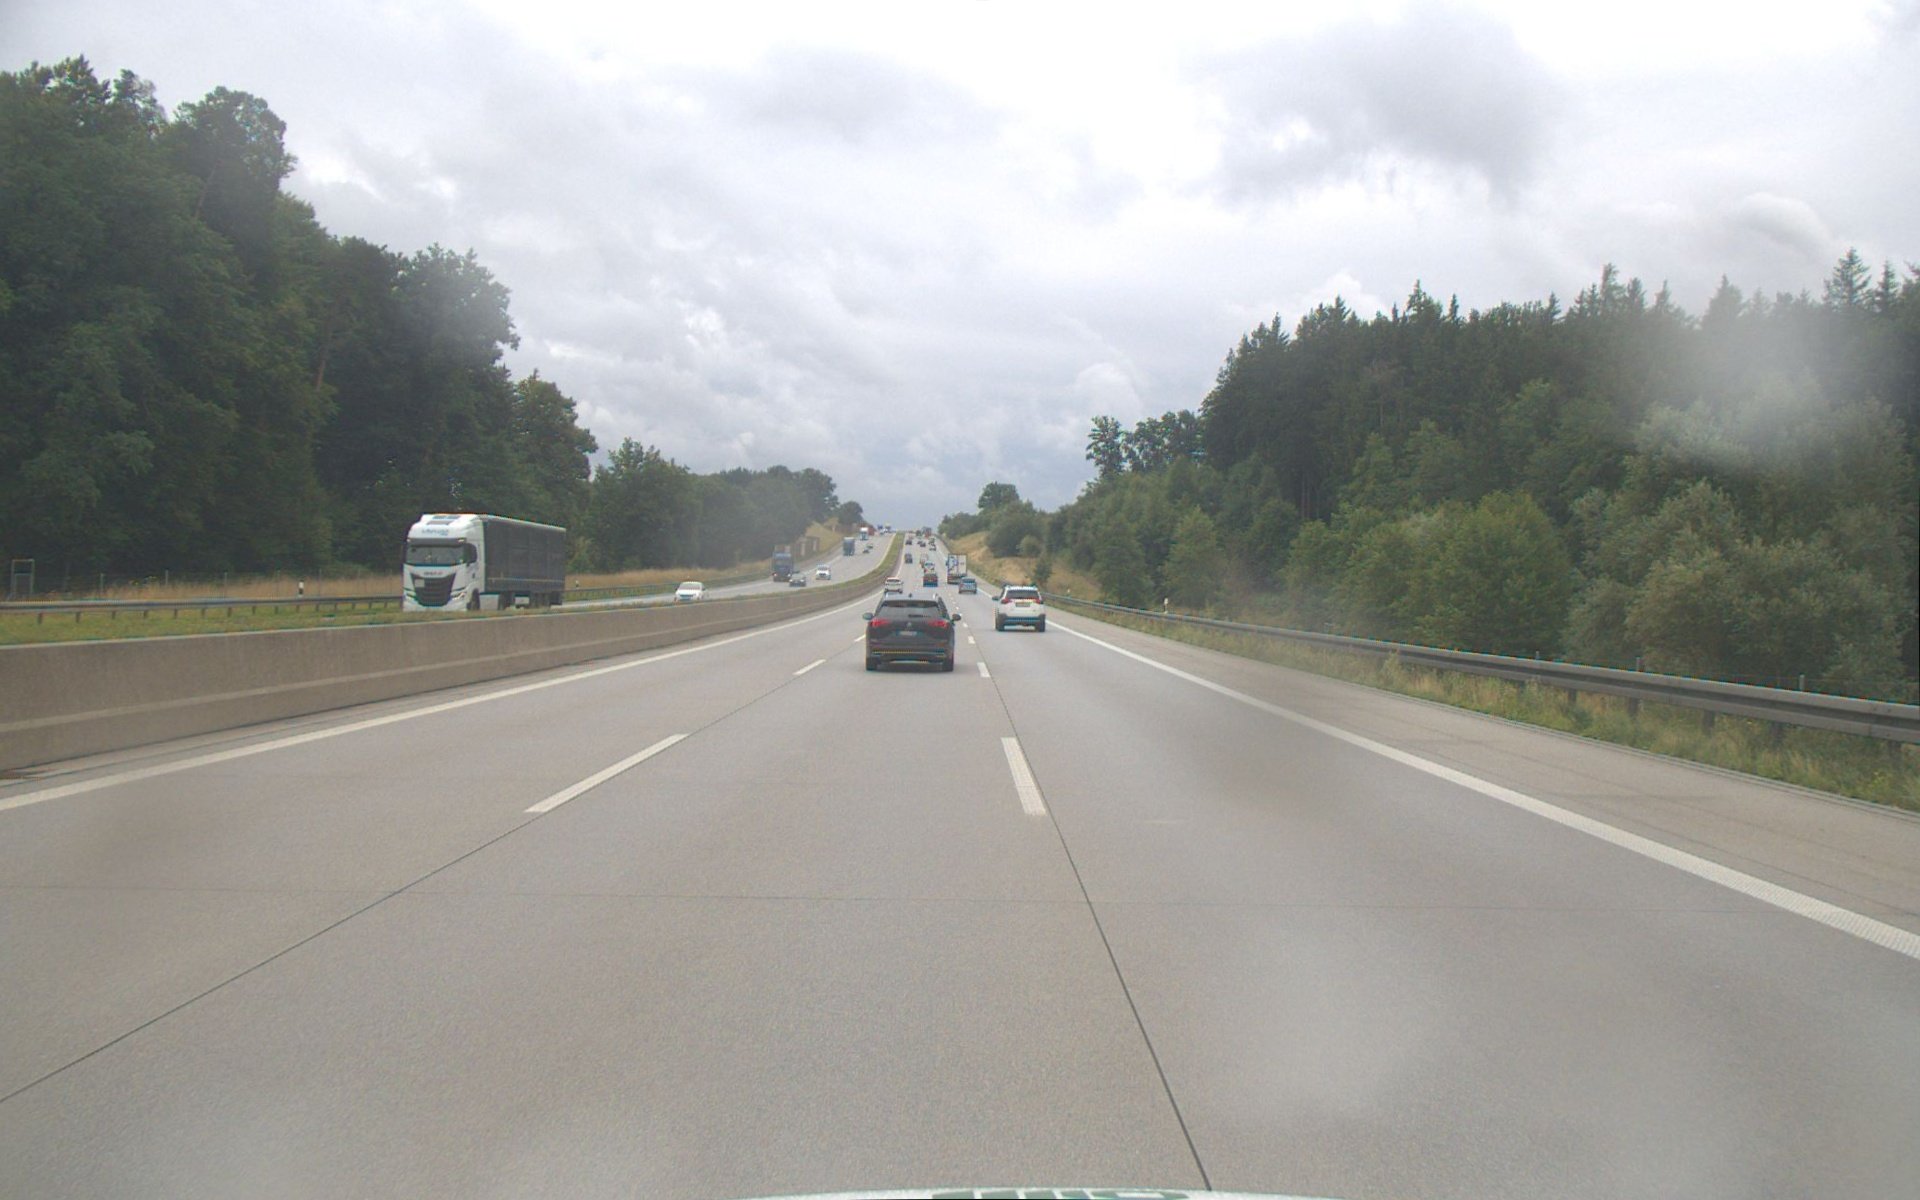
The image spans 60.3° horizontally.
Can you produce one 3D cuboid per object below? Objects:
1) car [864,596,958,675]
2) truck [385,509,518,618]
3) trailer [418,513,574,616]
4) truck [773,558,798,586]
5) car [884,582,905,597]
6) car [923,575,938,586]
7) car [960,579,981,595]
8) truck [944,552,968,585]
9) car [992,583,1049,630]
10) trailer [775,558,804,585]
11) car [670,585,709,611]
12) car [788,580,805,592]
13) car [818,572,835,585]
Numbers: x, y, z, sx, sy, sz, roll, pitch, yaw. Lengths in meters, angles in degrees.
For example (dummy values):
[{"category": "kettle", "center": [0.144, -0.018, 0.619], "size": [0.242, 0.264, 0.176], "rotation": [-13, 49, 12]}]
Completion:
[{"category": "car", "center": [-0.914, 0.650, 32.787], "size": [1.716, 1.422, 4.484], "rotation": [1, 0, 0]}, {"category": "truck", "center": [-20.426, -1.444, 66.909], "size": [3.147, 4.128, 7.165], "rotation": [1, 1, -1]}, {"category": "trailer", "center": [-20.544, -1.533, 74.433], "size": [3.169, 4.123, 14.129], "rotation": [1, 1, -1]}, {"category": "truck", "center": [-22.973, -3.713, 218.372], "size": [2.701, 3.578, 6.639], "rotation": [1, 1, -1]}, {"category": "car", "center": [-6.365, -1.037, 161.596], "size": [1.908, 1.380, 4.259], "rotation": [1, 0, 0]}, {"category": "car", "center": [-3.663, -2.442, 206.261], "size": [1.896, 1.399, 4.594], "rotation": [1, 1, -1]}, {"category": "car", "center": [1.068, -1.320, 168.156], "size": [1.953, 1.556, 3.999], "rotation": [3, 0, -1]}, {"category": "truck", "center": [-0.625, -4.271, 224.001], "size": [2.957, 4.252, 8.353], "rotation": [1, 2, -2]}, {"category": "car", "center": [2.246, 0.221, 62.416], "size": [1.789, 1.684, 3.983], "rotation": [1, 0, -3]}, {"category": "trailer", "center": [-23.160, -3.861, 225.388], "size": [2.729, 3.569, 13.882], "rotation": [1, 1, -1]}, {"category": "car", "center": [-16.657, -0.120, 102.096], "size": [1.747, 1.494, 4.371], "rotation": [0, 1, -1]}, {"category": "car", "center": [-18.978, -1.623, 192.278], "size": [1.811, 1.400, 4.434], "rotation": [1, 1, -3]}, {"category": "car", "center": [-18.996, -3.081, 235.335], "size": [2.046, 1.832, 5.496], "rotation": [1, 1, -1]}]
